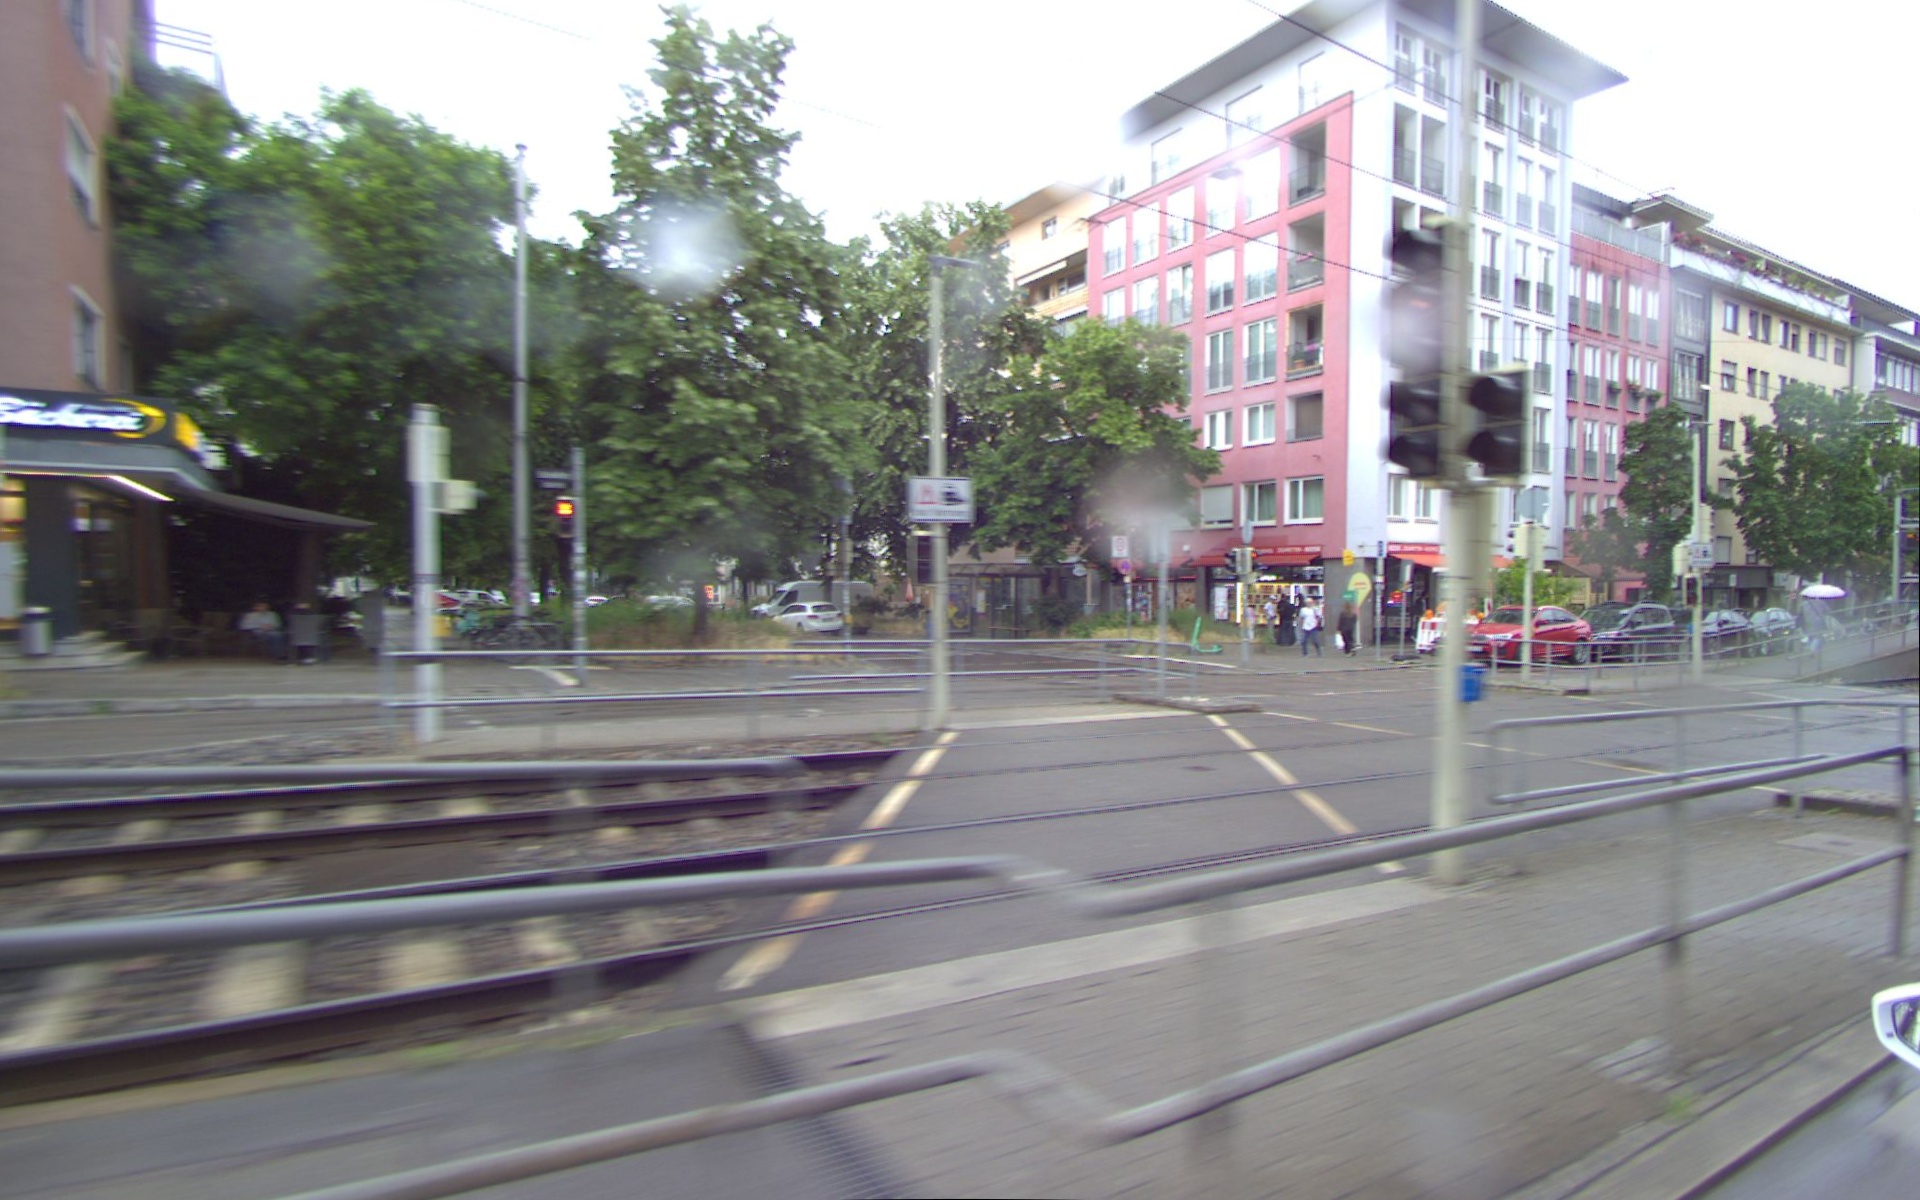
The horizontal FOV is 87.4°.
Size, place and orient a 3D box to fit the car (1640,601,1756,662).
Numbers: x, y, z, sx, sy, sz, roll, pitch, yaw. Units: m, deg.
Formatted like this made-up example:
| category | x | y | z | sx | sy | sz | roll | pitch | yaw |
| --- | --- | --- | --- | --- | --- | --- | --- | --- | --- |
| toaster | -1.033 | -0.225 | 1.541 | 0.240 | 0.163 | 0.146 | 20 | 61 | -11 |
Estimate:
| category | x | y | z | sx | sy | sz | roll | pitch | yaw |
| --- | --- | --- | --- | --- | --- | --- | --- | --- | --- |
| car | 24.334 | 0.997 | 33.089 | 4.336 | 1.883 | 1.790 | 1 | 0 | -35 |

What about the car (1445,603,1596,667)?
| category | x | y | z | sx | sy | sz | roll | pitch | yaw |
| --- | --- | --- | --- | --- | --- | --- | --- | --- | --- |
| car | 15.753 | 0.932 | 28.149 | 4.501 | 1.633 | 1.717 | 0 | 1 | -32 |

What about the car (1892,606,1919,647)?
| category | x | y | z | sx | sy | sz | roll | pitch | yaw |
| --- | --- | --- | --- | --- | --- | --- | --- | --- | --- |
| car | 39.552 | 1.064 | 40.399 | 4.965 | 1.599 | 1.797 | 1 | 0 | -32 |

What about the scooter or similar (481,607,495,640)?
| category | x | y | z | sx | sy | sz | roll | pitch | yaw |
| --- | --- | --- | --- | --- | --- | --- | --- | --- | --- |
| scooter or similar | -14.616 | 0.728 | 31.092 | 0.280 | 0.994 | 1.123 | 1 | 0 | -31 |

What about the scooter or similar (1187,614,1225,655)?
| category | x | y | z | sx | sy | sz | roll | pitch | yaw |
| --- | --- | --- | --- | --- | --- | --- | --- | --- | --- |
| scooter or similar | 7.421 | 1.028 | 30.278 | 1.198 | 1.207 | 0.387 | 1 | 0 | -32 |

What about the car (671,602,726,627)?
| category | x | y | z | sx | sy | sz | roll | pitch | yaw |
| --- | --- | --- | --- | --- | --- | --- | --- | --- | --- |
| car | -15.656 | 0.866 | 59.997 | 2.074 | 1.392 | 4.412 | 1 | 0 | -30 |

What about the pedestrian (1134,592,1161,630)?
| category | x | y | z | sx | sy | sz | roll | pitch | yaw |
| --- | --- | --- | --- | --- | --- | --- | --- | --- | --- |
| pedestrian | 7.054 | 0.413 | 37.863 | 0.651 | 1.402 | 0.686 | 1 | 2 | -34 |

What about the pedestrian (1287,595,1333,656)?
| category | x | y | z | sx | sy | sz | roll | pitch | yaw |
| --- | --- | --- | --- | --- | --- | --- | --- | --- | --- |
| pedestrian | 10.270 | 0.749 | 29.488 | 0.978 | 1.720 | 0.812 | 1 | 2 | -41 |

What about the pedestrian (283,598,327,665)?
| category | x | y | z | sx | sy | sz | roll | pitch | yaw |
| --- | --- | --- | --- | --- | --- | --- | --- | --- | --- |
| pedestrian | -12.114 | 0.574 | 18.586 | 0.600 | 1.193 | 0.673 | 1 | 0 | -27 |

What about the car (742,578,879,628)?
| category | x | y | z | sx | sy | sz | roll | pitch | yaw |
| --- | --- | --- | --- | --- | --- | --- | --- | --- | --- |
| car | -8.110 | 0.187 | 54.775 | 7.017 | 2.568 | 2.403 | 1 | 0 | -31 |

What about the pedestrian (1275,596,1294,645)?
| category | x | y | z | sx | sy | sz | roll | pitch | yaw |
| --- | --- | --- | --- | --- | --- | --- | --- | --- | --- |
| pedestrian | 11.317 | 0.708 | 35.045 | 0.535 | 1.653 | 0.574 | 3 | 2 | 22 |

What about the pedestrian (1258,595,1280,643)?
| category | x | y | z | sx | sy | sz | roll | pitch | yaw |
| --- | --- | --- | --- | --- | --- | --- | --- | --- | --- |
| pedestrian | 11.002 | 0.673 | 35.753 | 0.570 | 1.653 | 0.610 | 3 | 2 | 32 |

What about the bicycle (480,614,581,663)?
| category | x | y | z | sx | sy | sz | roll | pitch | yaw |
| --- | --- | --- | --- | --- | --- | --- | --- | --- | --- |
| bicycle | -8.882 | 0.801 | 20.798 | 1.853 | 0.972 | 0.477 | 2 | 0 | -33 |

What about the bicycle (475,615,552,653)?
| category | x | y | z | sx | sy | sz | roll | pitch | yaw |
| --- | --- | --- | --- | --- | --- | --- | --- | --- | --- |
| bicycle | -10.467 | 0.805 | 23.567 | 1.627 | 0.854 | 0.336 | 1 | 0 | -30 |

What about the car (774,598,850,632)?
| category | x | y | z | sx | sy | sz | roll | pitch | yaw |
| --- | --- | --- | --- | --- | --- | --- | --- | --- | --- |
| car | -6.495 | 0.639 | 43.758 | 1.977 | 1.392 | 3.968 | 1 | 0 | -30 |

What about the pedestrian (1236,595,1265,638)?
| category | x | y | z | sx | sy | sz | roll | pitch | yaw |
| --- | --- | --- | --- | --- | --- | --- | --- | --- | --- |
| pedestrian | 10.250 | 0.594 | 35.436 | 0.650 | 1.481 | 0.635 | 1 | 2 | -34 |

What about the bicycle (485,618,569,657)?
| category | x | y | z | sx | sy | sz | roll | pitch | yaw |
| --- | --- | --- | --- | --- | --- | --- | --- | --- | --- |
| bicycle | -9.329 | 0.806 | 21.670 | 1.629 | 0.827 | 0.337 | 2 | 0 | -33 |

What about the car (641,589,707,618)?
| category | x | y | z | sx | sy | sz | roll | pitch | yaw |
| --- | --- | --- | --- | --- | --- | --- | --- | --- | --- |
| car | -21.440 | 0.247 | 75.323 | 4.397 | 2.056 | 2.081 | 1 | 0 | -31 |

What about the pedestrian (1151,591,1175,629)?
| category | x | y | z | sx | sy | sz | roll | pitch | yaw |
| --- | --- | --- | --- | --- | --- | --- | --- | --- | --- |
| pedestrian | 7.731 | 0.392 | 38.258 | 0.644 | 1.424 | 0.556 | 1 | 2 | -34 |

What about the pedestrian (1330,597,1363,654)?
| category | x | y | z | sx | sy | sz | roll | pitch | yaw |
| --- | --- | --- | --- | --- | --- | --- | --- | --- | --- |
| pedestrian | 11.480 | 0.747 | 29.840 | 0.791 | 1.654 | 0.882 | 0 | 2 | 13 |

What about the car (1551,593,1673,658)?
| category | x | y | z | sx | sy | sz | roll | pitch | yaw |
| --- | --- | --- | --- | --- | --- | --- | --- | --- | --- |
| car | 20.202 | 0.760 | 31.071 | 4.277 | 1.883 | 1.696 | 1 | 0 | -35 |

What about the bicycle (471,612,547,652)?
| category | x | y | z | sx | sy | sz | roll | pitch | yaw |
| --- | --- | --- | --- | --- | --- | --- | --- | --- | --- |
| bicycle | -10.760 | 0.770 | 23.989 | 1.627 | 0.915 | 0.337 | 1 | 0 | -30 |

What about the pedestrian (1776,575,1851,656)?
| category | x | y | z | sx | sy | sz | roll | pitch | yaw |
| --- | --- | --- | --- | --- | --- | --- | --- | --- | --- |
| pedestrian | 22.139 | 0.395 | 26.067 | 1.368 | 2.040 | 1.110 | 1 | 0 | -32 |

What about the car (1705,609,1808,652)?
| category | x | y | z | sx | sy | sz | roll | pitch | yaw |
| --- | --- | --- | --- | --- | --- | --- | --- | --- | --- |
| car | 28.982 | 1.088 | 36.515 | 4.277 | 1.455 | 1.828 | 1 | 0 | -36 |

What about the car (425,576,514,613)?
| category | x | y | z | sx | sy | sz | roll | pitch | yaw |
| --- | --- | --- | --- | --- | --- | --- | --- | --- | --- |
| car | -30.822 | -0.329 | 63.191 | 4.814 | 2.239 | 1.890 | 1 | 0 | -34 |

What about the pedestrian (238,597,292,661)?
| category | x | y | z | sx | sy | sz | roll | pitch | yaw |
| --- | --- | --- | --- | --- | --- | --- | --- | --- | --- |
| pedestrian | -13.386 | 0.547 | 19.357 | 0.665 | 1.193 | 0.607 | 1 | 0 | 26 |

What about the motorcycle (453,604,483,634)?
| category | x | y | z | sx | sy | sz | roll | pitch | yaw |
| --- | --- | --- | --- | --- | --- | --- | --- | --- | --- |
| motorcycle | -17.598 | 0.668 | 35.908 | 0.739 | 1.021 | 1.840 | 1 | 0 | -32 |

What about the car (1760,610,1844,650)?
| category | x | y | z | sx | sy | sz | roll | pitch | yaw |
| --- | --- | --- | --- | --- | --- | --- | --- | --- | --- |
| car | 32.654 | 1.135 | 38.924 | 3.940 | 1.455 | 1.557 | 1 | 0 | -36 |

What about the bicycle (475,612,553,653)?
| category | x | y | z | sx | sy | sz | roll | pitch | yaw |
| --- | --- | --- | --- | --- | --- | --- | --- | --- | --- |
| bicycle | -10.294 | 0.763 | 23.208 | 1.627 | 0.923 | 0.337 | 1 | 0 | -30 |
